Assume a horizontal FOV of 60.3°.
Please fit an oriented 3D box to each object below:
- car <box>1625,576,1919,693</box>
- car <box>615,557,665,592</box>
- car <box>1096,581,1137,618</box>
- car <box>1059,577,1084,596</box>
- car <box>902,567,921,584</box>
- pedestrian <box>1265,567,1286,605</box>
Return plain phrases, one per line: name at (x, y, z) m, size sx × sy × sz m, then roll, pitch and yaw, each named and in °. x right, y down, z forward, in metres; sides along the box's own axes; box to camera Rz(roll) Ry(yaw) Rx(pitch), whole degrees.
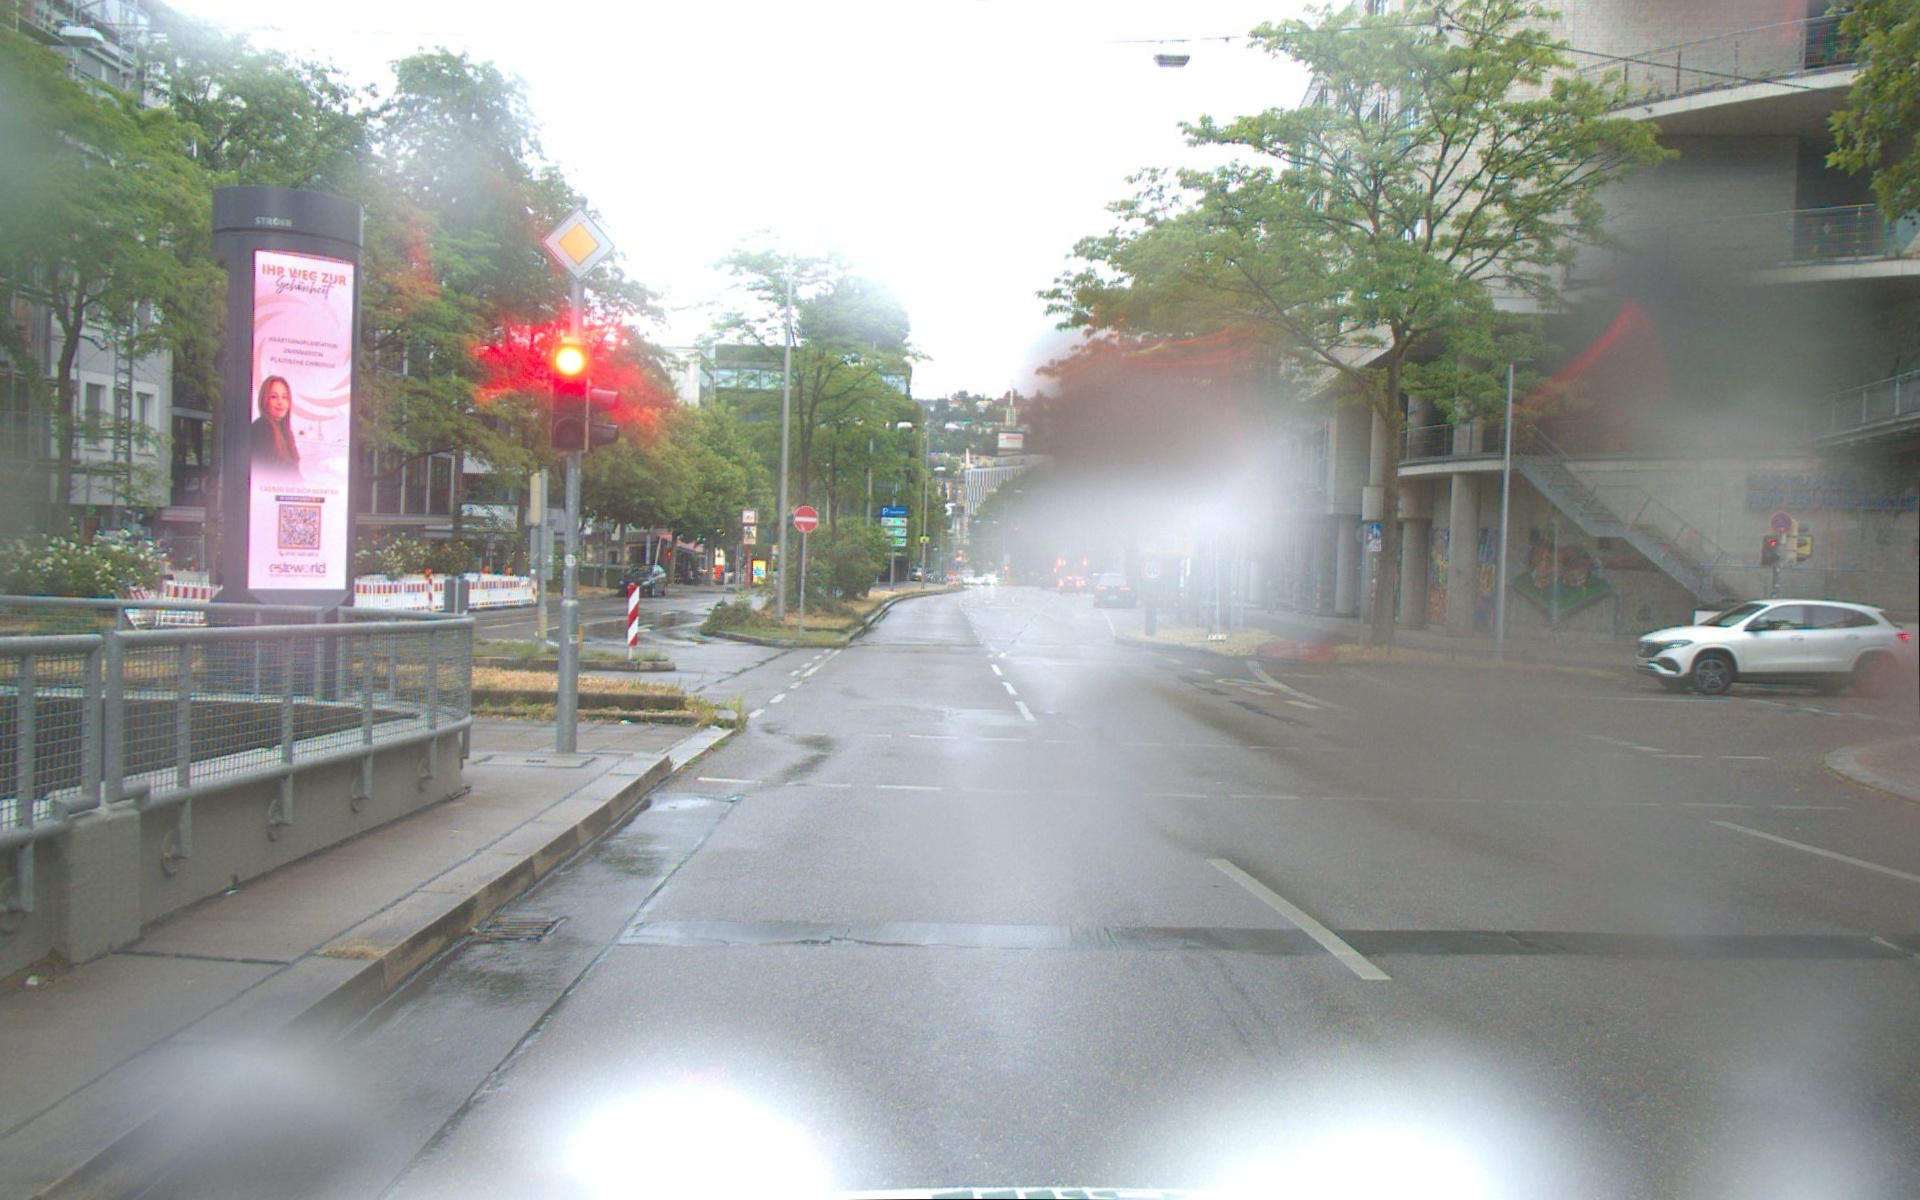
car at (13.968, 0.619, 28.613) m, size 4.253 × 1.714 × 1.751 m, roll 2°, pitch -6°, yaw 2°
car at (-16.052, -1.282, 83.112) m, size 1.744 × 1.582 × 3.893 m, roll 2°, pitch 2°, yaw -1°
car at (7.886, -0.031, 83.688) m, size 1.861 × 1.713 × 3.912 m, roll 2°, pitch 0°, yaw 3°
car at (9.561, -1.158, 141.937) m, size 1.710 × 1.545 × 4.106 m, roll 2°, pitch 0°, yaw -1°
car at (-6.564, -3.339, 223.900) m, size 2.084 × 2.202 × 5.198 m, roll 2°, pitch 0°, yaw 2°
pedestrian at (13.721, -0.609, 71.993) m, size 0.769 × 1.584 × 0.533 m, roll 2°, pitch 0°, yaw 4°
